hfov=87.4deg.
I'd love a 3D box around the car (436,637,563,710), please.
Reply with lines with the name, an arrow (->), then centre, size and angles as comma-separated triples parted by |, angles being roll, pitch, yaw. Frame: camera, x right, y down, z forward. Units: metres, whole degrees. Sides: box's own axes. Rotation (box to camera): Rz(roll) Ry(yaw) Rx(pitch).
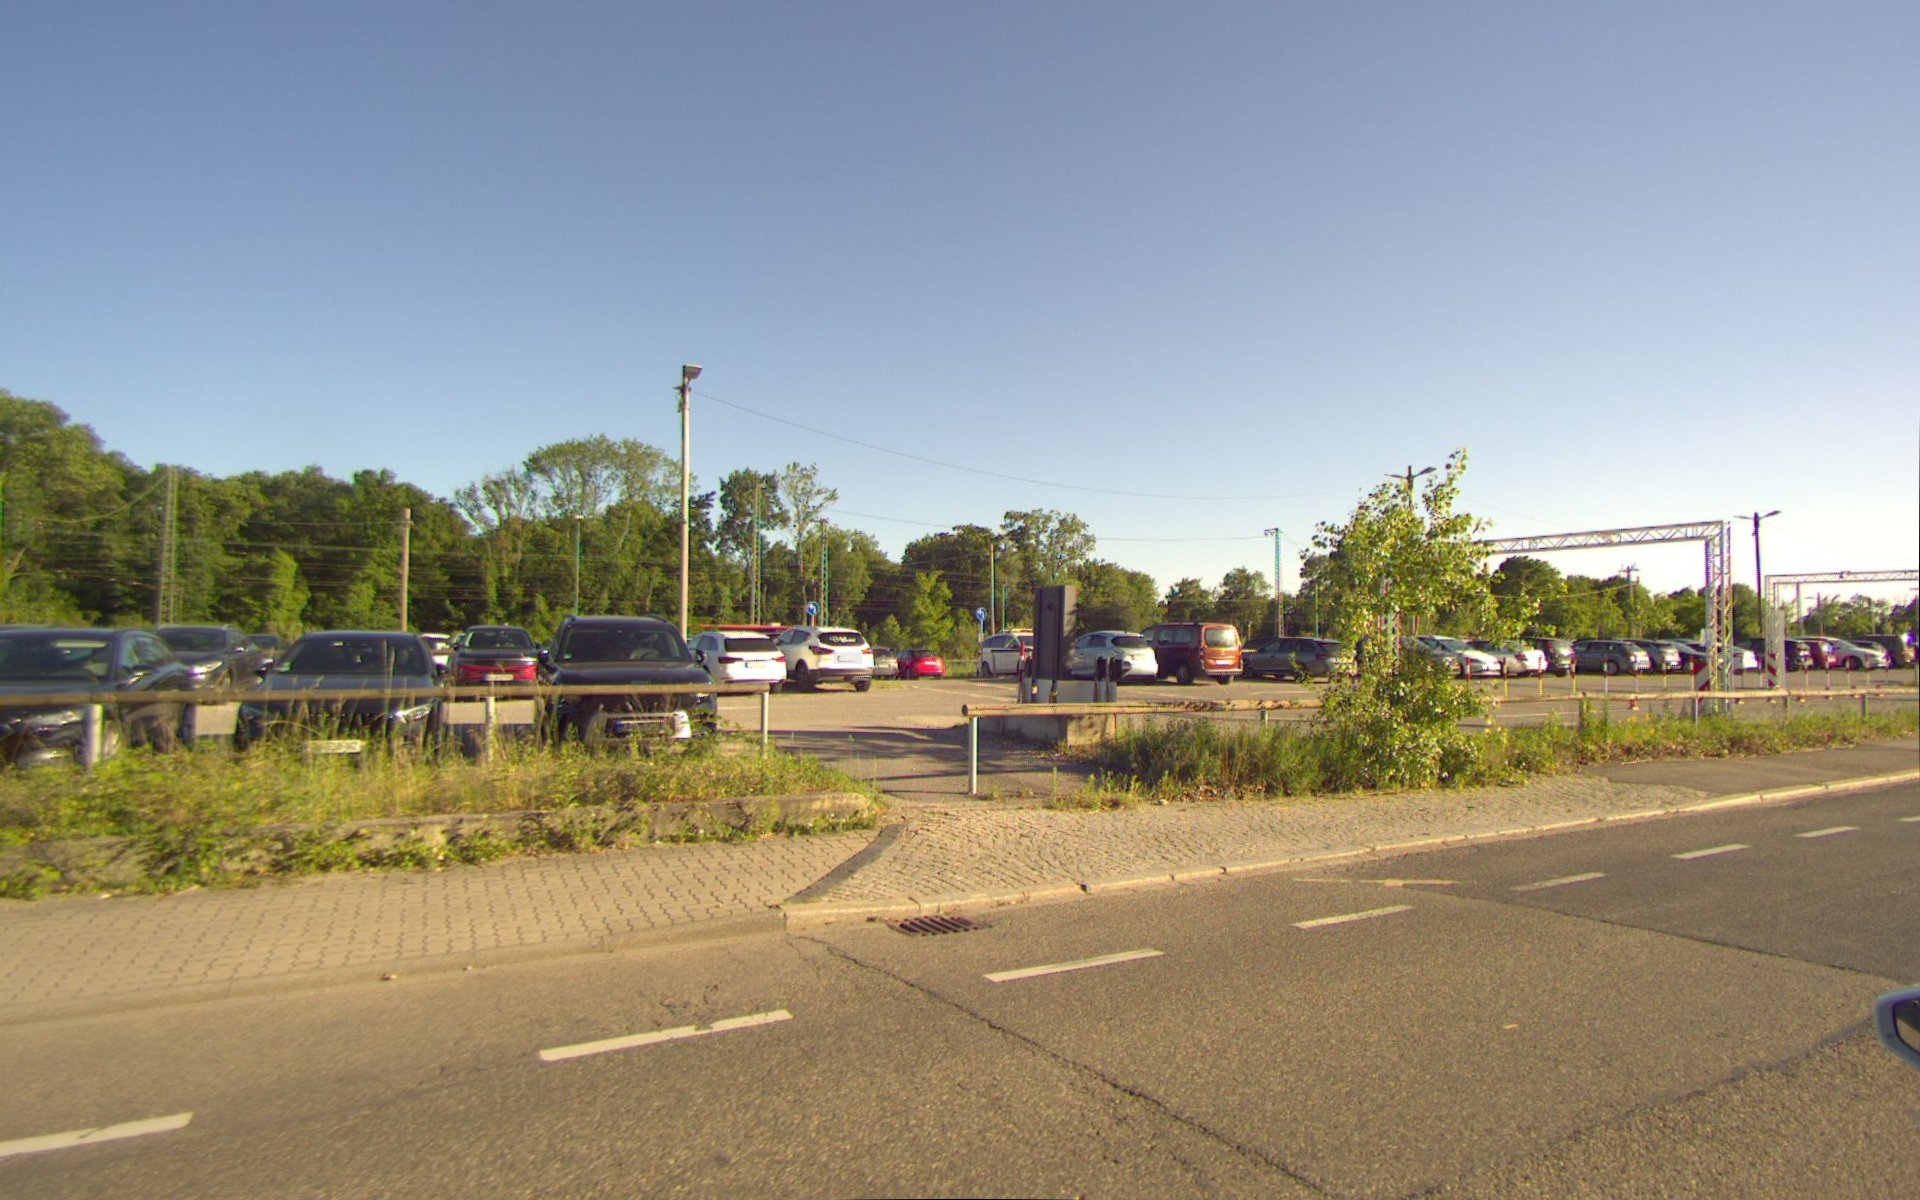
car -> -10.065, 1.536, 21.790 | 2.025, 1.415, 4.140 | 2, -3, -31

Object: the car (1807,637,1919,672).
car -> 50.149, 3.000, 55.820 | 1.855, 1.815, 4.304 | 1, -2, -28

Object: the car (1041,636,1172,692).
car -> 4.413, 1.898, 30.896 | 1.833, 1.566, 4.352 | 1, -2, -27

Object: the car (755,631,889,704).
car -> -3.595, 1.665, 25.527 | 1.944, 1.683, 4.141 | 2, -3, -30

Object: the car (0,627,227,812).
car -> -8.972, 1.042, 9.910 | 2.022, 1.481, 4.414 | 2, -3, -26

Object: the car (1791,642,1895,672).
car -> 47.877, 3.066, 54.549 | 1.855, 1.540, 3.867 | 1, -2, -28

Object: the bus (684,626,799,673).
bus -> -11.520, 2.648, 53.084 | 5.517, 2.379, 2.531 | 2, -3, -27

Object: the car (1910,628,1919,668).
car -> 61.643, 2.978, 61.288 | 2.291, 2.492, 4.907 | 1, -2, -28

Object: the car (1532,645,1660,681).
car -> 27.200, 2.660, 43.112 | 1.855, 1.438, 4.304 | 1, -2, -28

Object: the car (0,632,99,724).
car -> -17.129, 1.327, 17.843 | 2.025, 1.484, 4.380 | 2, -3, -31

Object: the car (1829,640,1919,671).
car -> 52.505, 3.118, 57.136 | 1.855, 1.639, 4.304 | 1, -2, -28

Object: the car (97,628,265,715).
car -> -14.993, 1.343, 19.588 | 2.025, 1.484, 4.380 | 2, -3, -31

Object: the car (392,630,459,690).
car -> -18.618, 2.054, 34.917 | 1.841, 1.944, 3.987 | 2, -3, -31

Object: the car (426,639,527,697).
car -> -12.937, 1.772, 26.766 | 2.025, 1.415, 4.140 | 2, -3, -31

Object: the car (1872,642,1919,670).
car -> 57.015, 3.328, 59.399 | 1.855, 1.639, 4.191 | 1, -2, -28

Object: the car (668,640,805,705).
car -> -5.468, 1.691, 24.179 | 2.025, 1.415, 4.140 | 2, -3, -31

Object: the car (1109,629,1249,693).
car -> 6.755, 1.854, 31.485 | 1.833, 1.829, 4.560 | 1, -2, -27

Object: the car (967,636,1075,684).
car -> 2.057, 2.030, 35.010 | 1.833, 1.566, 4.352 | 1, -2, -27

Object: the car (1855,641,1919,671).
car -> 54.853, 3.218, 58.023 | 1.855, 1.639, 4.304 | 1, -2, -28

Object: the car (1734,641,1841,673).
car -> 42.681, 2.921, 51.866 | 1.855, 1.540, 3.867 | 1, -2, -28

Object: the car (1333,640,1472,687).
car -> 16.101, 2.275, 36.835 | 1.833, 1.606, 4.560 | 1, -2, -27

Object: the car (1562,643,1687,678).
car -> 29.534, 2.660, 44.784 | 1.855, 1.438, 4.304 | 1, -2, -28

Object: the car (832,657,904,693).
car -> -4.089, 3.238, 44.143 | 1.913, 1.500, 3.593 | 2, -3, -28

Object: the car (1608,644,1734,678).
car -> 32.018, 2.707, 45.359 | 1.855, 1.394, 4.304 | 1, -2, -28

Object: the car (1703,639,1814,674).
car -> 39.111, 2.750, 49.311 | 1.855, 1.624, 3.867 | 1, -2, -28

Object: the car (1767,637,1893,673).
car -> 45.470, 2.837, 52.616 | 2.029, 1.764, 4.569 | 1, -2, -24

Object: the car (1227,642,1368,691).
car -> 11.299, 2.179, 33.972 | 1.963, 1.500, 4.564 | 1, -2, -24

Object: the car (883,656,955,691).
car -> -1.881, 3.284, 45.324 | 1.913, 1.500, 3.593 | 2, -3, -28

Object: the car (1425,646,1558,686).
car -> 20.536, 2.520, 38.995 | 1.854, 1.411, 4.307 | 1, -2, -27

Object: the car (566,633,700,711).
car -> -7.545, 1.584, 22.946 | 2.025, 1.599, 4.140 | 2, -3, -31

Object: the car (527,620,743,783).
car -> -4.341, 1.177, 12.915 | 2.022, 1.692, 4.414 | 2, -3, -26

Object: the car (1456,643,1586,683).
car -> 22.570, 2.494, 40.607 | 1.854, 1.482, 4.307 | 1, -2, -27

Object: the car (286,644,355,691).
car -> -21.676, 2.254, 34.163 | 1.841, 1.484, 3.987 | 2, -3, -31

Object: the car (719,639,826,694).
car -> -5.820, 2.000, 30.857 | 1.944, 1.549, 4.141 | 2, -3, -30

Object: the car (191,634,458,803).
car -> -6.796, 1.158, 11.267 | 2.022, 1.481, 4.414 | 2, -3, -26

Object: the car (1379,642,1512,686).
car -> 18.225, 2.355, 37.902 | 1.854, 1.543, 4.307 | 1, -2, -27

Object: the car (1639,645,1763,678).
car -> 34.401, 2.829, 46.756 | 1.855, 1.394, 4.304 | 1, -2, -28

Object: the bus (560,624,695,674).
bus -> -16.676, 2.491, 50.438 | 6.124, 2.379, 2.531 | 2, -3, -27

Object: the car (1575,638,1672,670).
car -> 34.911, 2.818, 52.938 | 1.784, 1.624, 3.867 | 1, -2, -28
